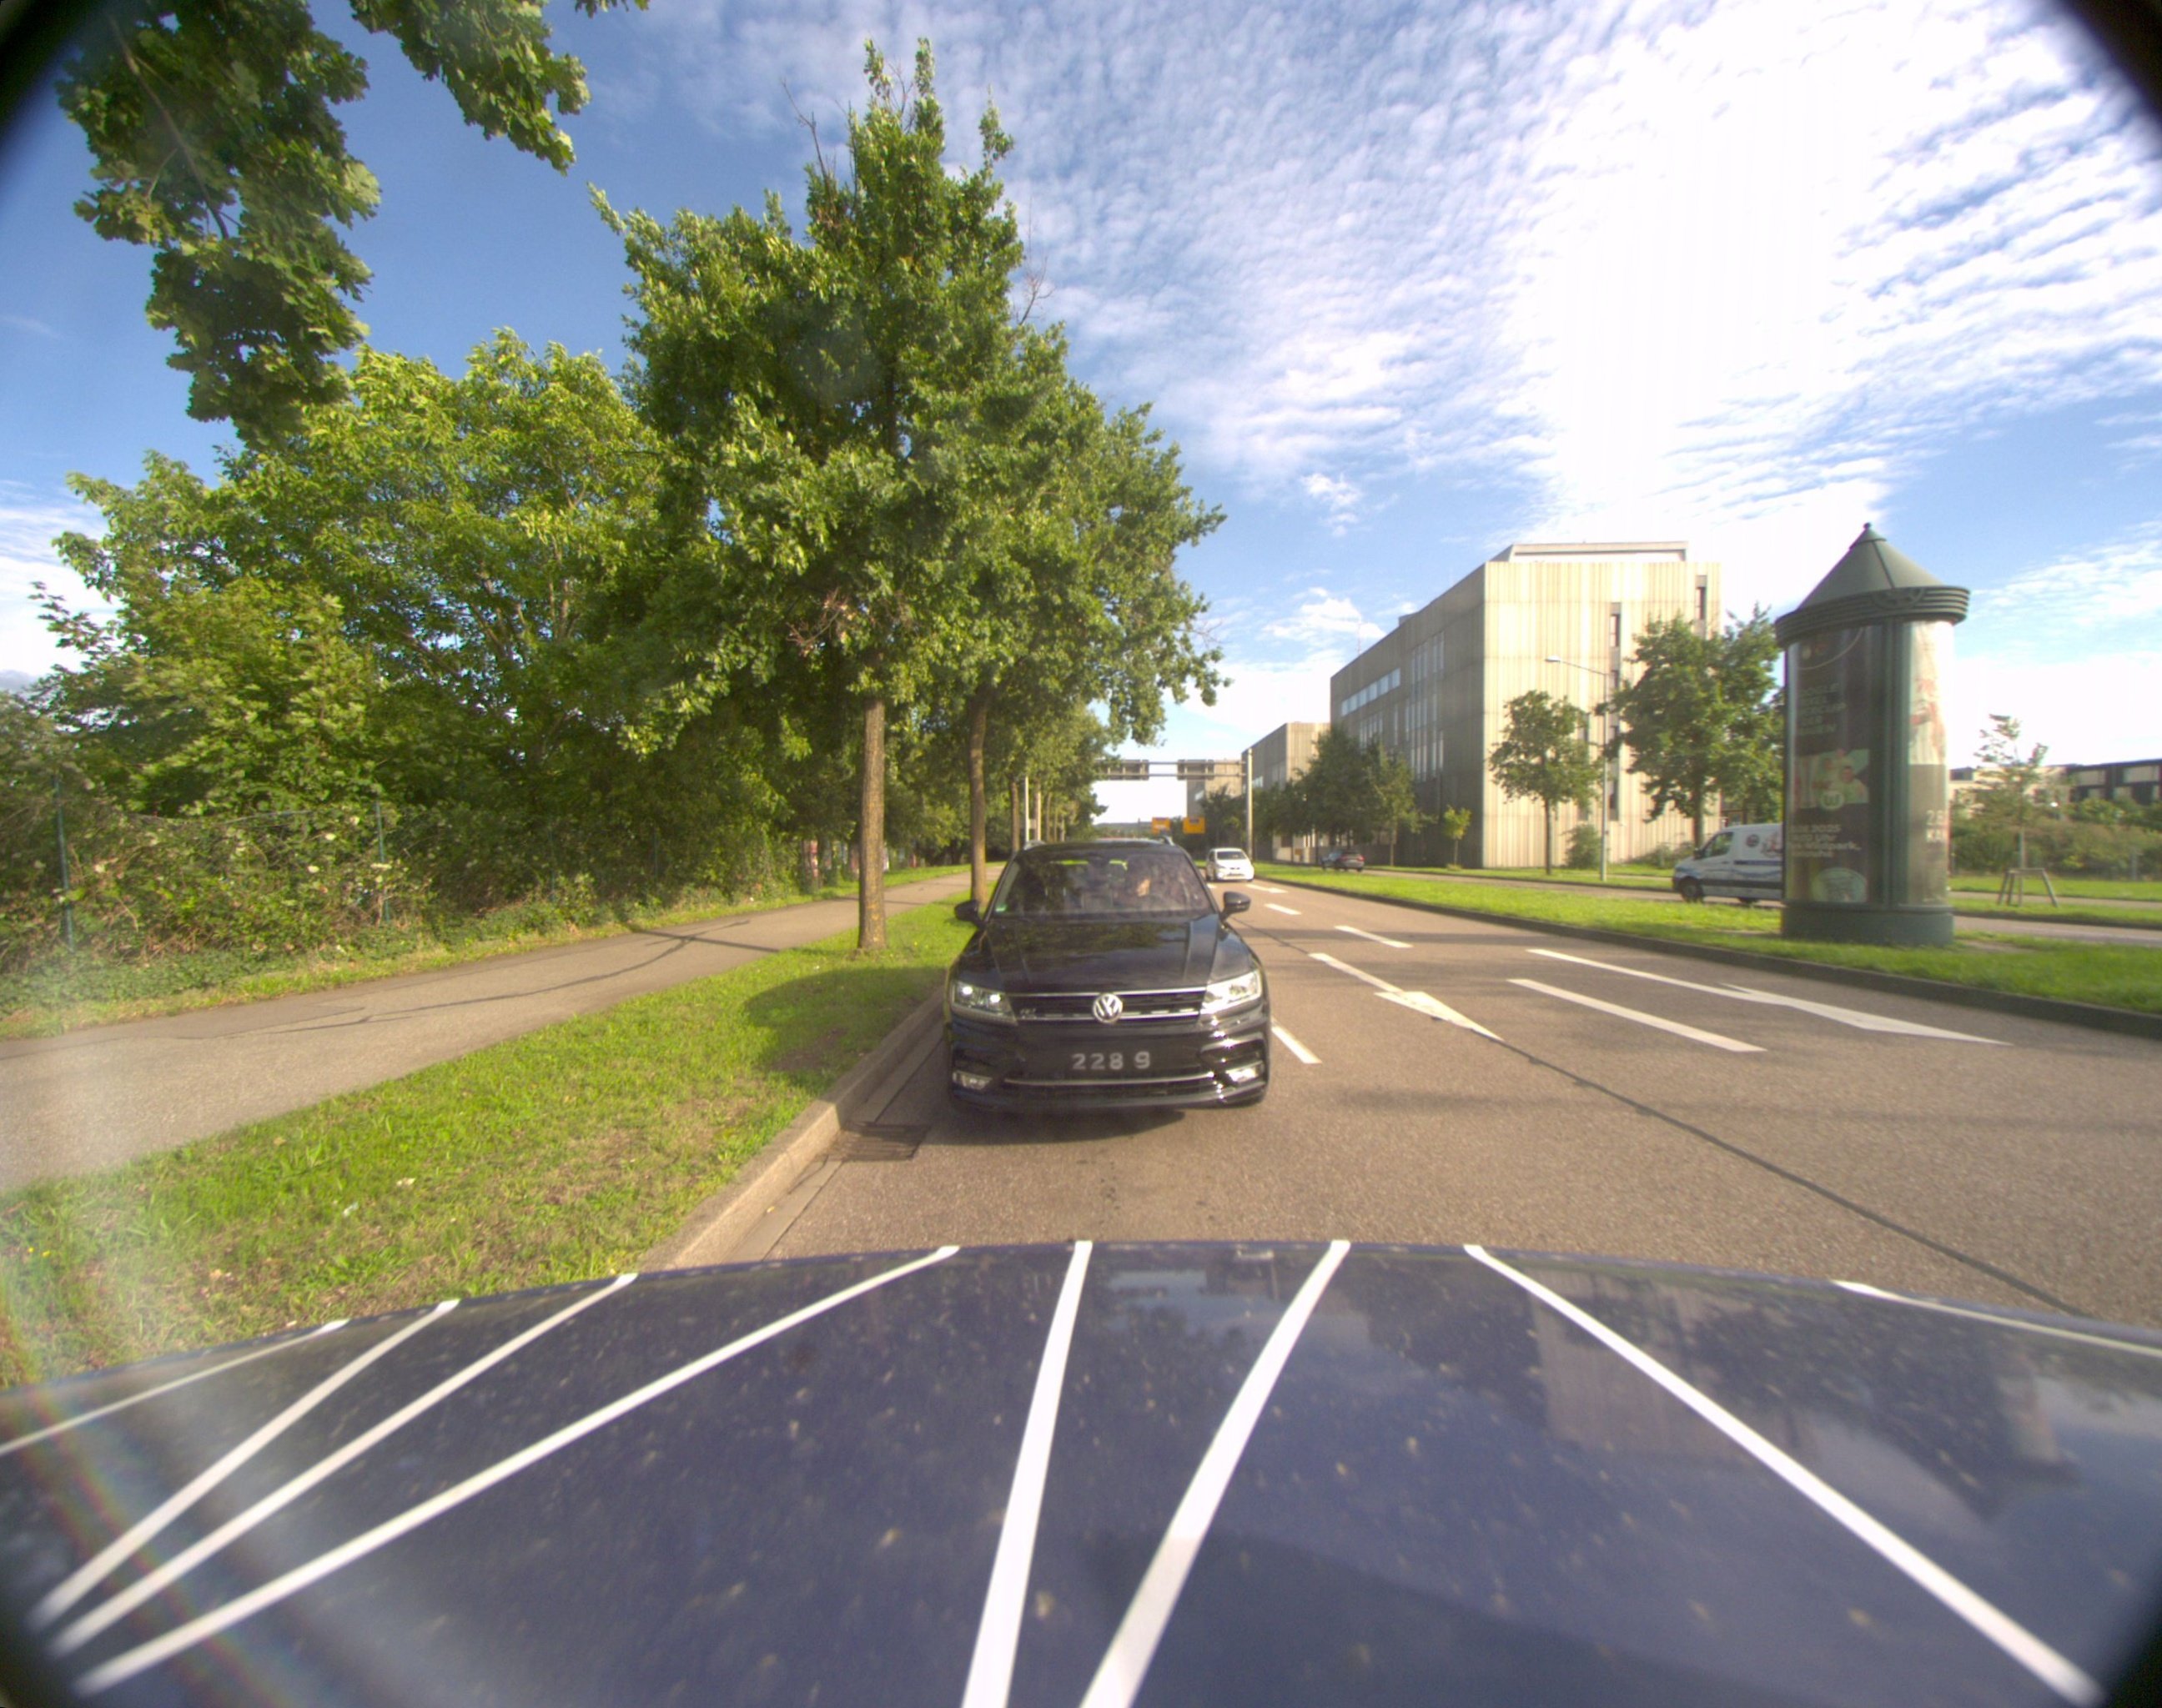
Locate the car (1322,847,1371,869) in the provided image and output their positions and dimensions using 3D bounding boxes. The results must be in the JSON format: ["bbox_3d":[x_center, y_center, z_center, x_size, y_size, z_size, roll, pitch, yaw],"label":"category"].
[{"bbox_3d":[18.182,0.267,52.263,1.905,1.402,4.207,2,1,0],"label":"car"}]

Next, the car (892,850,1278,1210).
[{"bbox_3d":[0.074,0.831,5.522,1.775,1.637,3.868,-2,1,2],"label":"car"}]

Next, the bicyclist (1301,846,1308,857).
[{"bbox_3d":[30.345,-0.345,103.056,0.707,1.517,0.989,0,1,1],"label":"bicyclist"}]

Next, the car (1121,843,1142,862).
[{"bbox_3d":[4.764,-0.143,72.570,1.758,1.696,4.000,-1,1,0],"label":"car"}]

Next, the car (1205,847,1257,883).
[{"bbox_3d":[6.621,0.432,33.885,1.745,1.455,4.000,-1,1,3],"label":"car"}]

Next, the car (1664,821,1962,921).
[{"bbox_3d":[18.934,0.375,20.240,1.999,2.222,5.923,1,0,-2],"label":"car"}]

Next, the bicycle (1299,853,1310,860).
[{"bbox_3d":[30.339,0.345,103.016,0.897,0.975,1.911,0,0,1],"label":"bicycle"}]
